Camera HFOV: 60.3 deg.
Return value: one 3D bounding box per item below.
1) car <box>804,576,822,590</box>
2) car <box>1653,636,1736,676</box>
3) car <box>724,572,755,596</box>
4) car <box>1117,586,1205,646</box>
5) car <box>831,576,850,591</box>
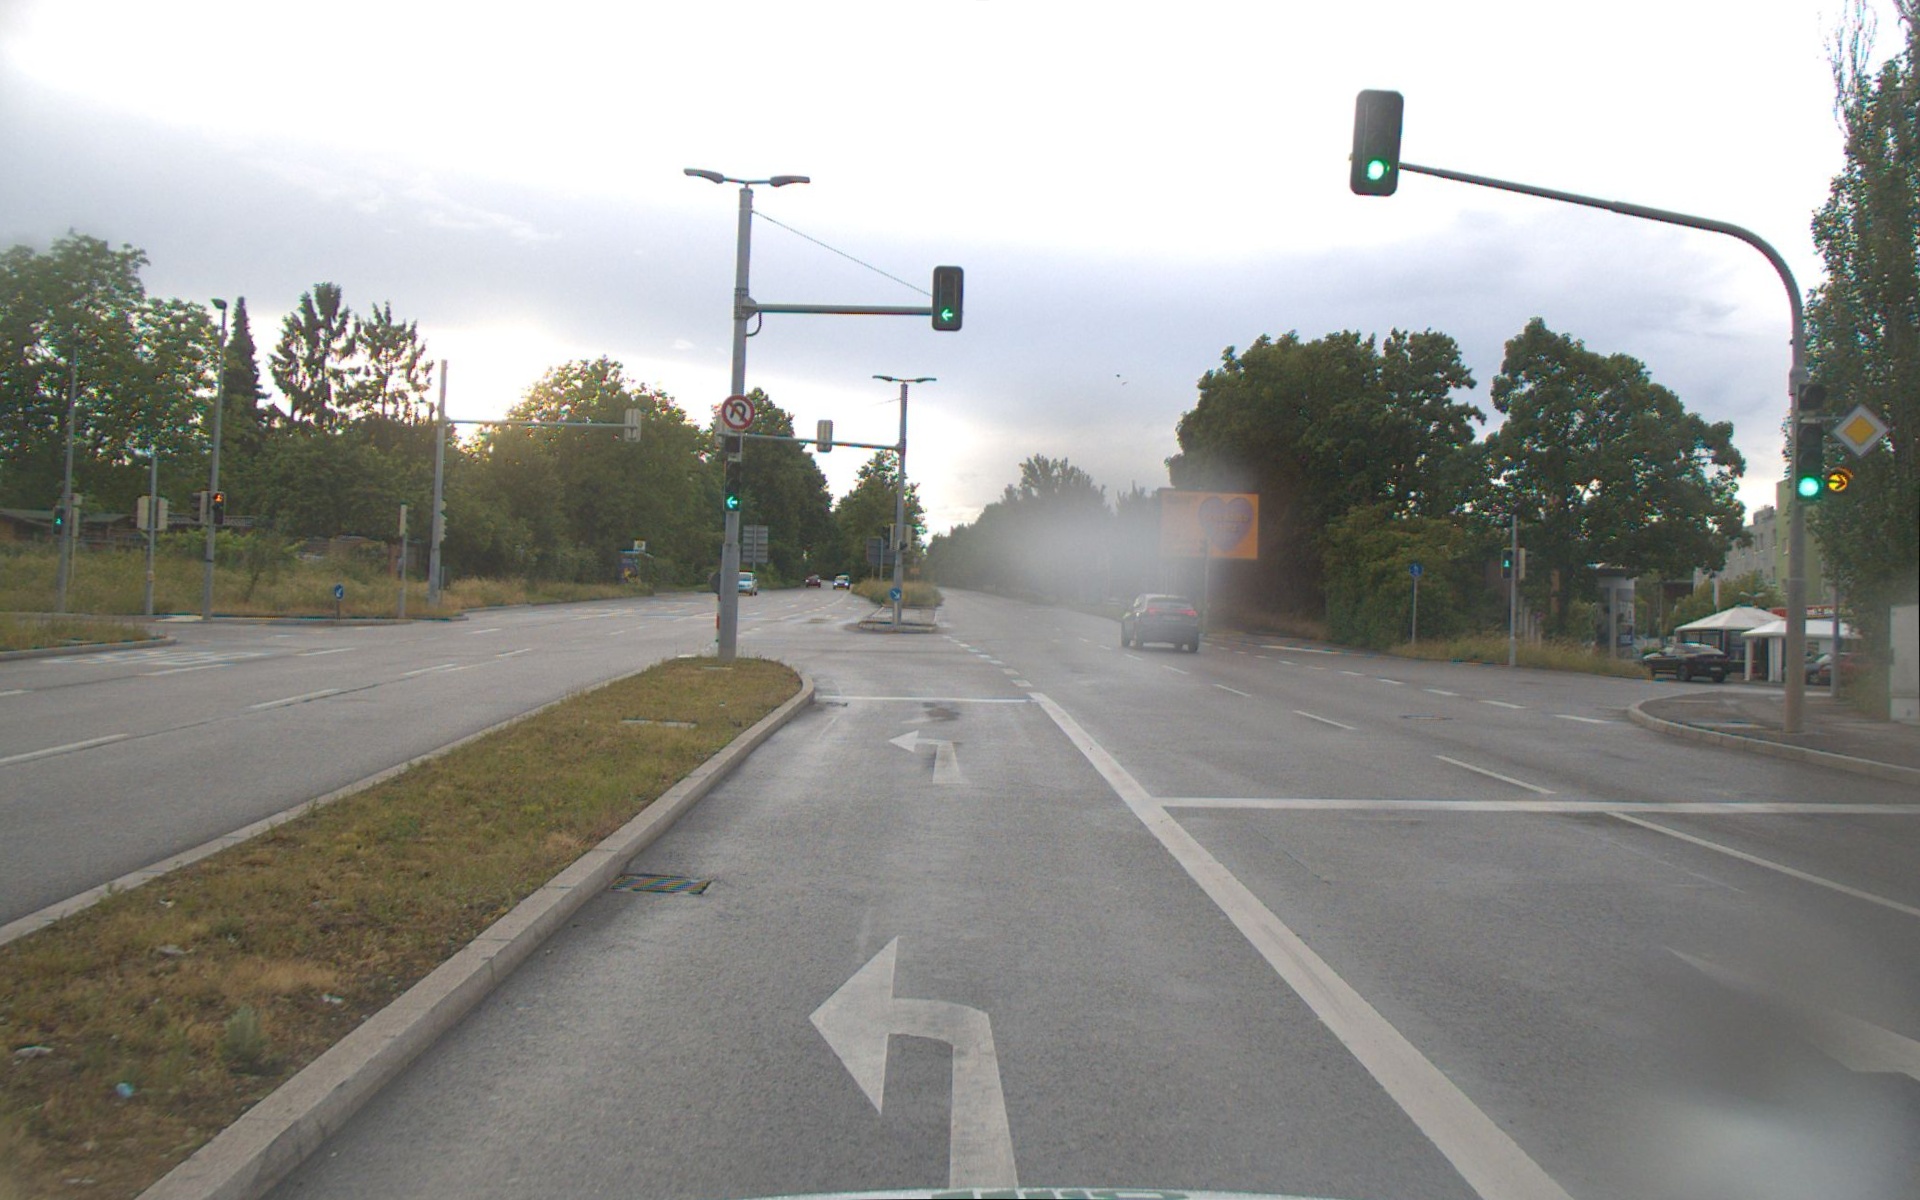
[{"bbox_3d":[-17.789,-2.097,199.786,1.855,1.623,4.487,2,0,-2],"label":"car"},{"bbox_3d":[32.759,2.477,73.915,1.741,1.614,4.140,4,-1,-1],"label":"car"},{"bbox_3d":[-15.990,-1.178,120.068,1.733,1.623,4.487,2,0,-2],"label":"car"},{"bbox_3d":[5.437,0.410,45.199,1.710,1.495,4.164,2,0,-2],"label":"car"},{"bbox_3d":[-13.252,-1.794,183.676,1.855,1.561,4.487,2,0,-2],"label":"car"}]
